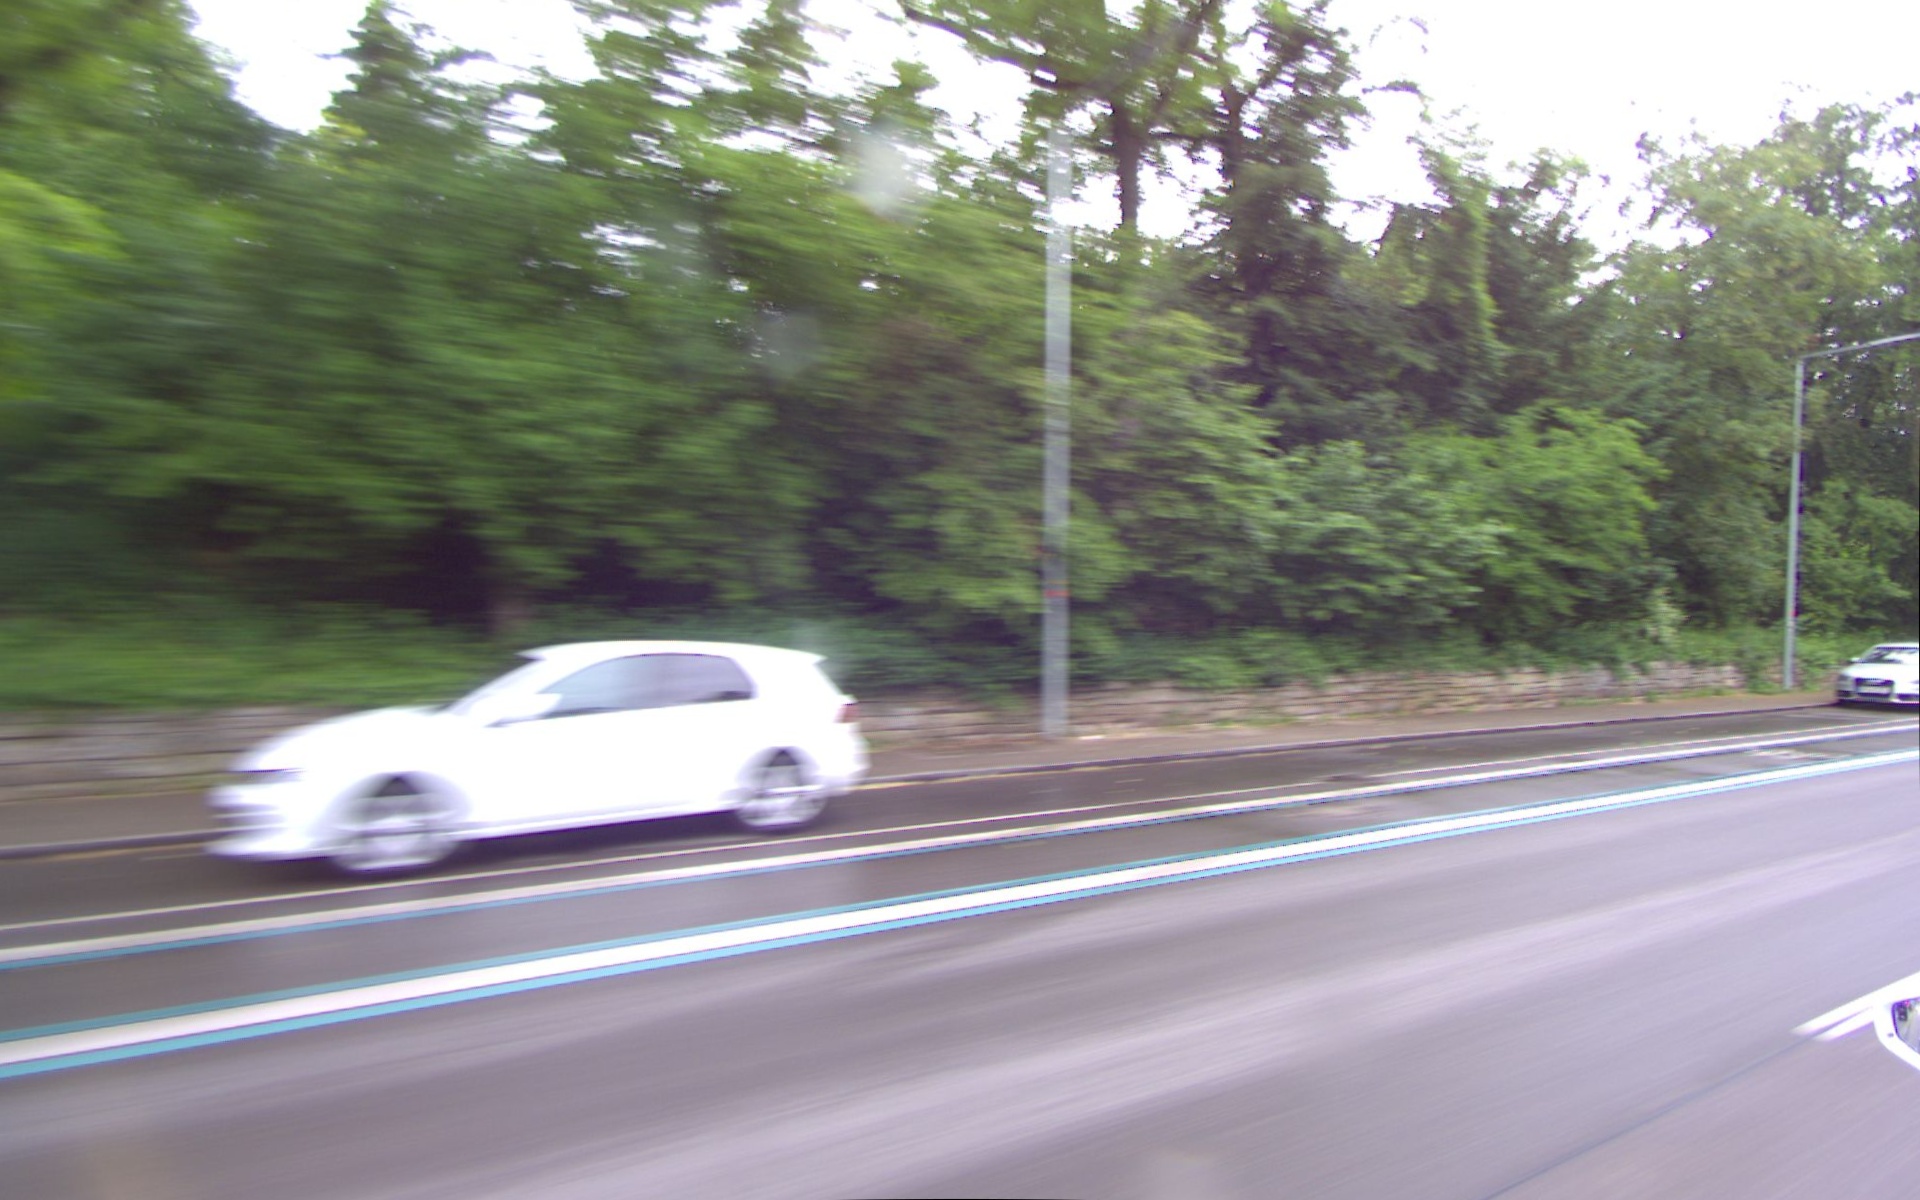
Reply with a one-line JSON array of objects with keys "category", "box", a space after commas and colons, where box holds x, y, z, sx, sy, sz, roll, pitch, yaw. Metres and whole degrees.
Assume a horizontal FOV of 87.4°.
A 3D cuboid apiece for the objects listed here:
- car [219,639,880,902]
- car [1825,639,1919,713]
[{"category": "car", "box": [-2.917, 1.060, 7.715, 4.308, 1.454, 1.745, 1, -2, -32]}, {"category": "car", "box": [20.918, 1.618, 22.071, 3.979, 1.424, 1.682, 1, 0, -30]}]
